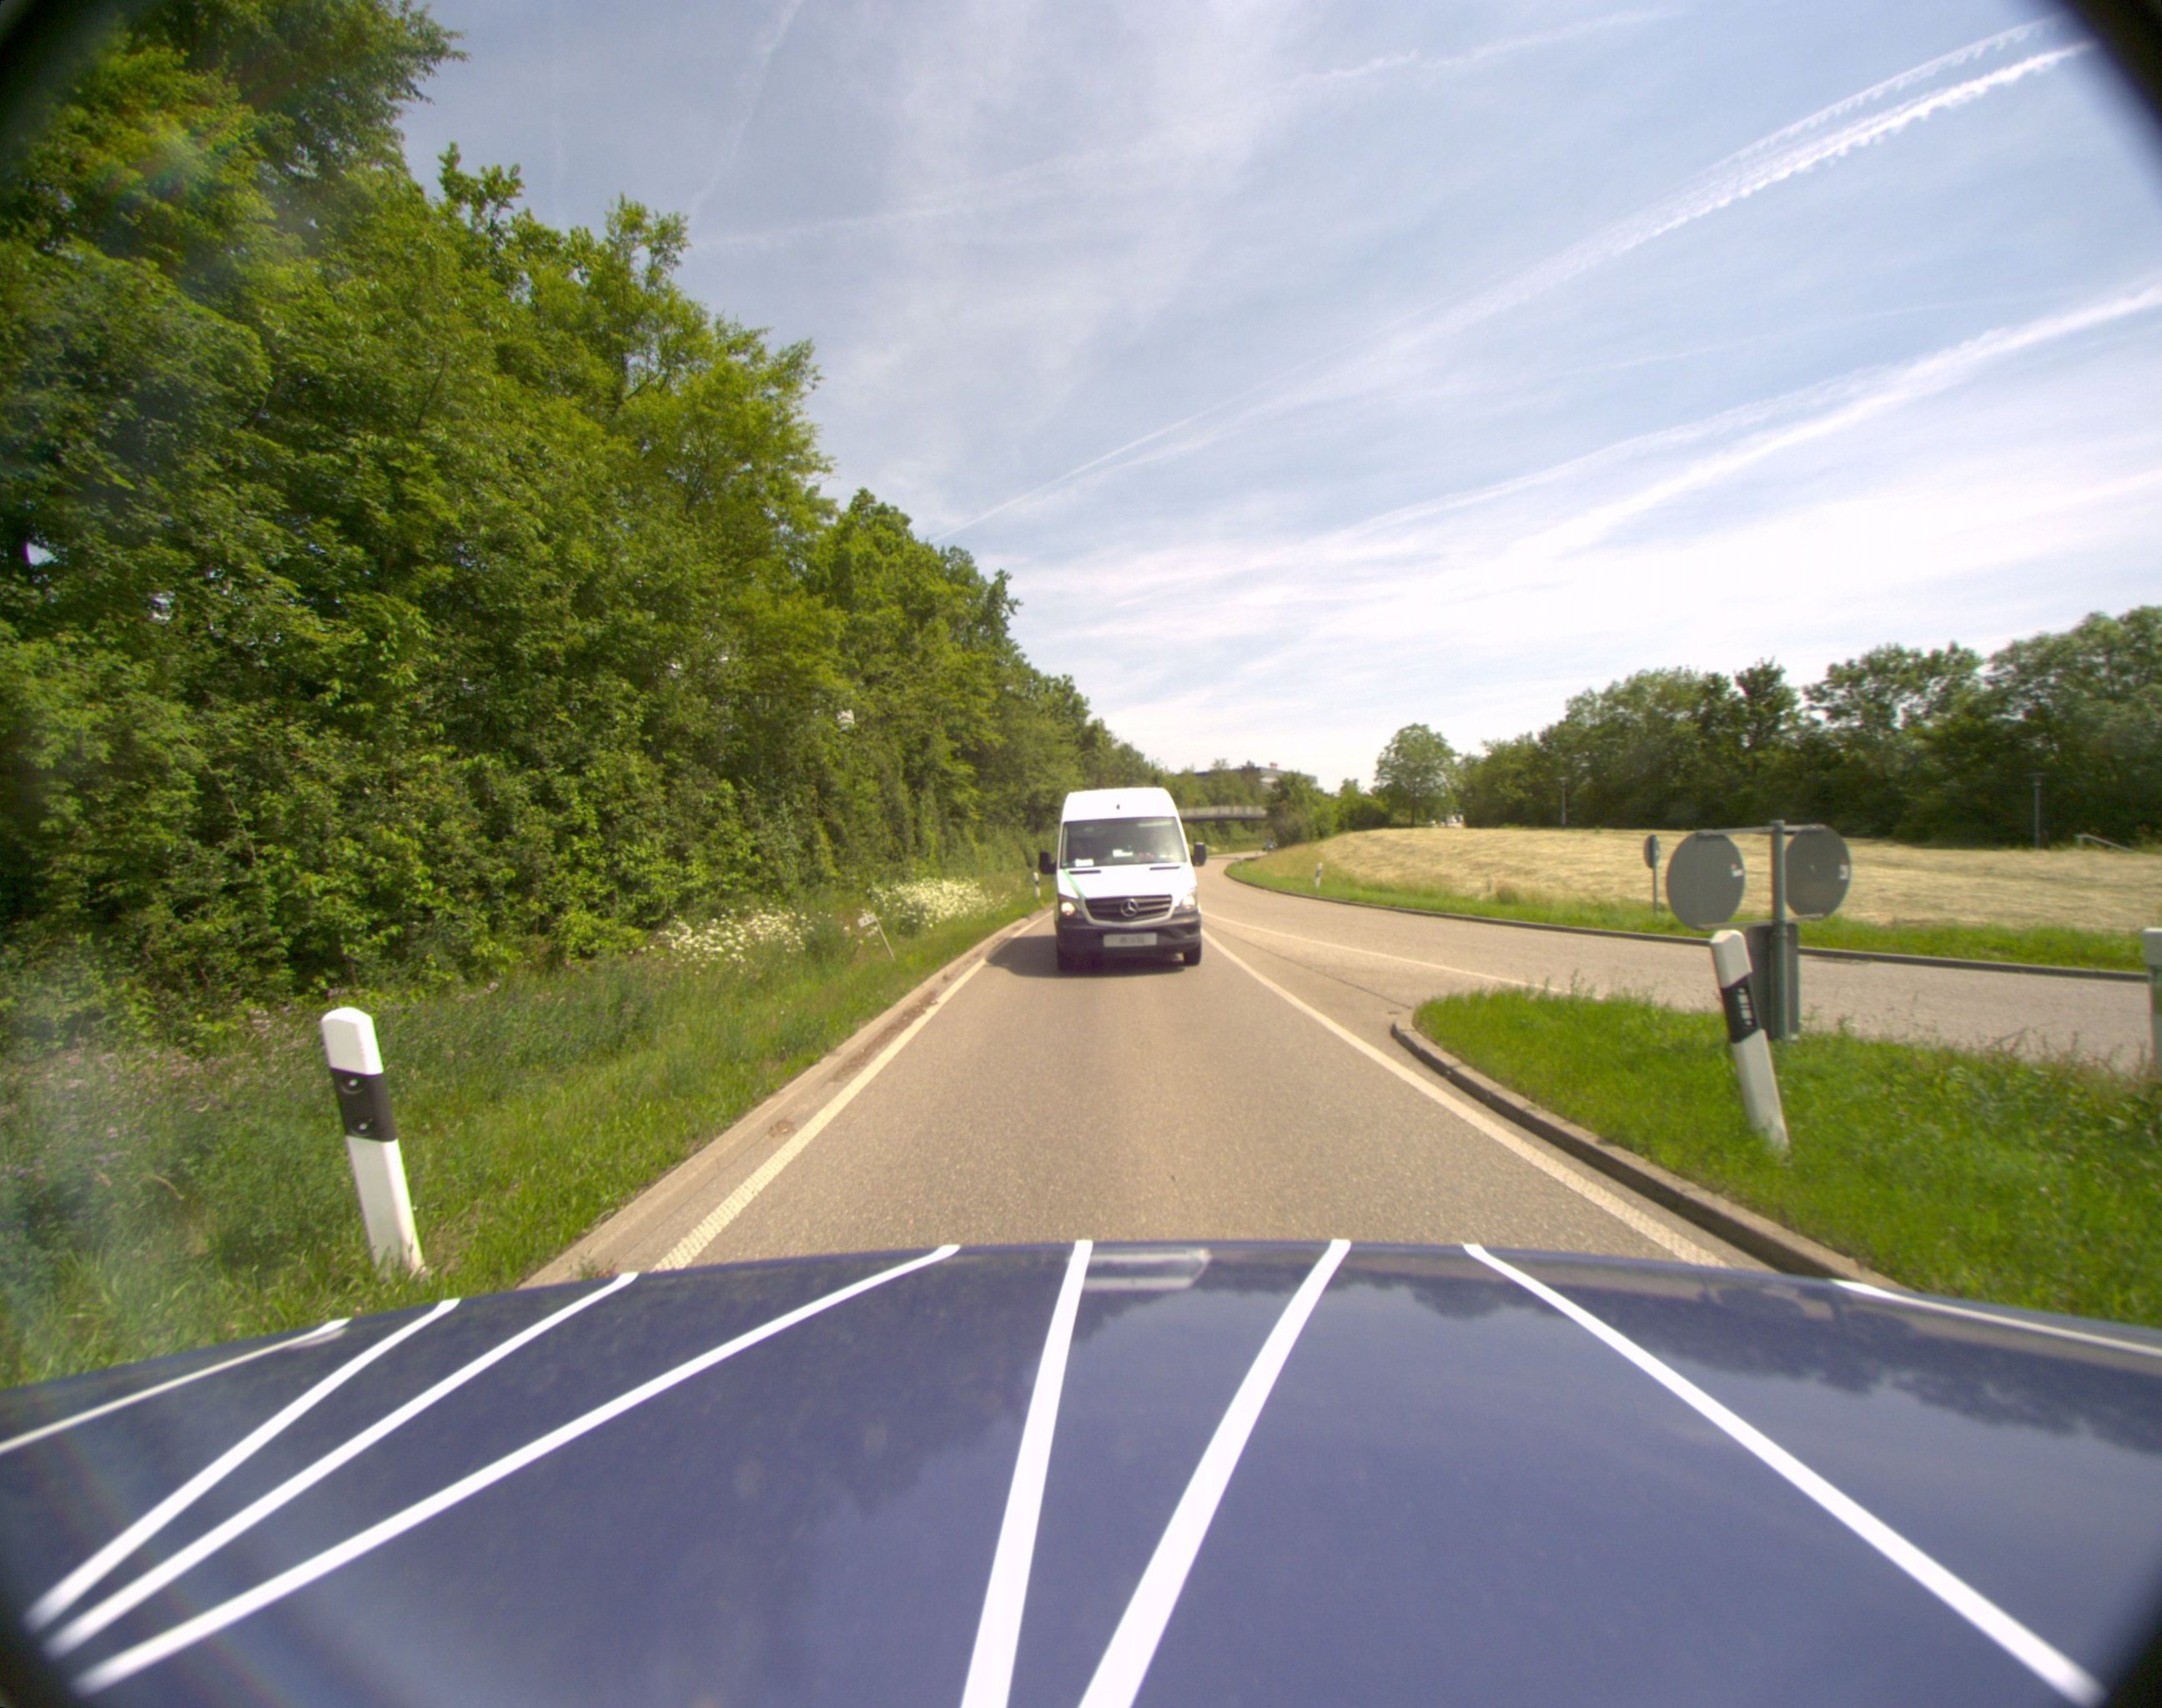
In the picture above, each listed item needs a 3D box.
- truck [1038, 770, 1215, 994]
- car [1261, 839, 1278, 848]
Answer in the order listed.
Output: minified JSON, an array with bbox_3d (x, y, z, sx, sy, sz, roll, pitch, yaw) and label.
[{"bbox_3d":[0.667,0.346,11.891,1.998,2.571,5.888,-2,0,3],"label":"truck"},{"bbox_3d":[32.167,-1.734,129.520,1.955,1.414,3.944,0,0,26],"label":"car"}]
